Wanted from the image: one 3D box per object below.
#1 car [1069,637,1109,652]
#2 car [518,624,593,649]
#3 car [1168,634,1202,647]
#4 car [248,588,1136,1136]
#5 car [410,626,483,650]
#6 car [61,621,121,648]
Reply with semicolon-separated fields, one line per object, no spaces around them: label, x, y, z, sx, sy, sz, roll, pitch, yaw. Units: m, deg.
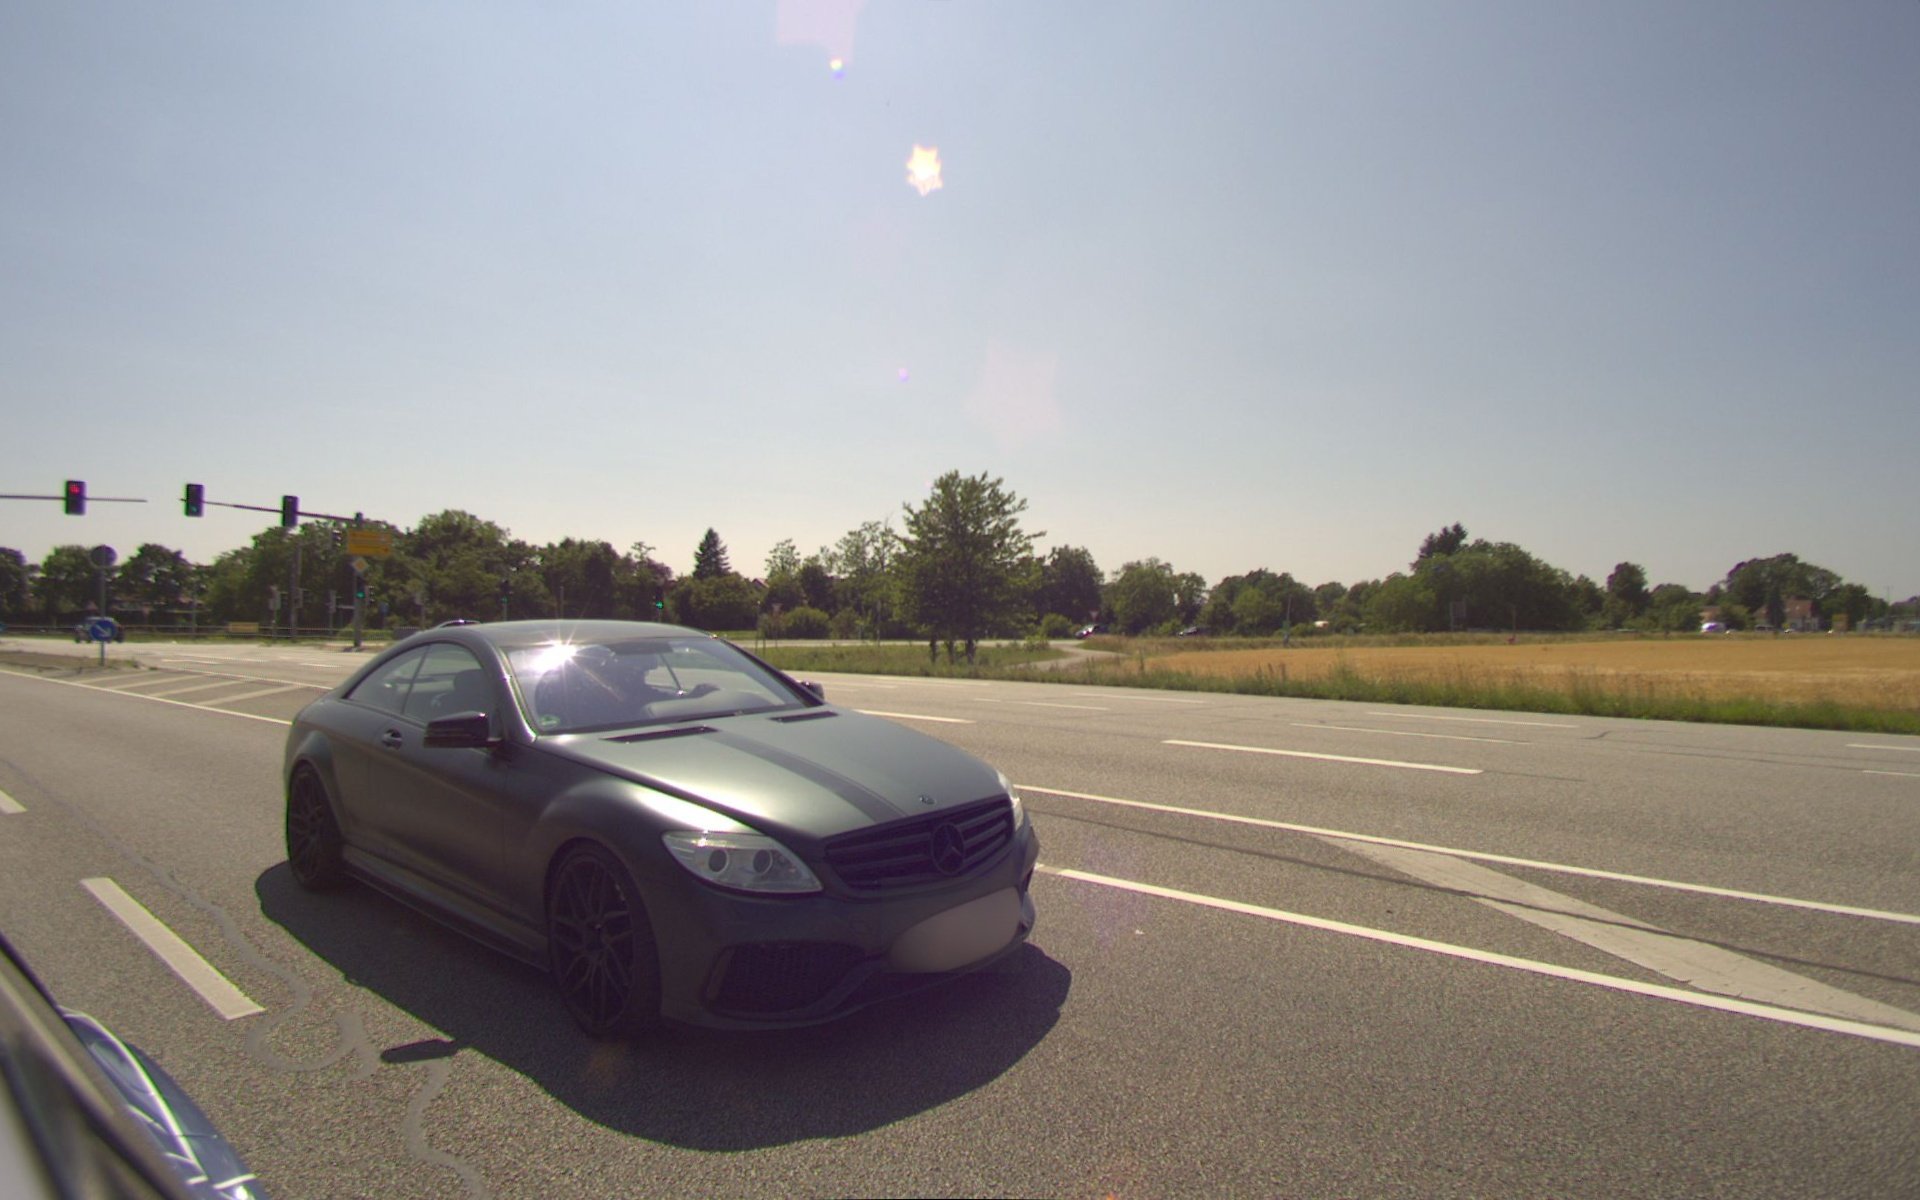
car;12.335;4.215;96.775;3.711;1.397;1.503;2;-3;-34
car;-26.621;2.388;66.678;4.296;1.606;1.639;2;-3;-34
car;24.274;4.336;109.212;3.711;1.397;1.503;2;-3;-34
car;-1.722;0.733;4.987;4.874;1.461;1.792;-1;0;41
car;-31.844;2.357;62.835;3.817;1.397;1.638;0;-2;-37
car;-53.487;2.113;62.279;4.297;1.612;1.814;0;-2;36
